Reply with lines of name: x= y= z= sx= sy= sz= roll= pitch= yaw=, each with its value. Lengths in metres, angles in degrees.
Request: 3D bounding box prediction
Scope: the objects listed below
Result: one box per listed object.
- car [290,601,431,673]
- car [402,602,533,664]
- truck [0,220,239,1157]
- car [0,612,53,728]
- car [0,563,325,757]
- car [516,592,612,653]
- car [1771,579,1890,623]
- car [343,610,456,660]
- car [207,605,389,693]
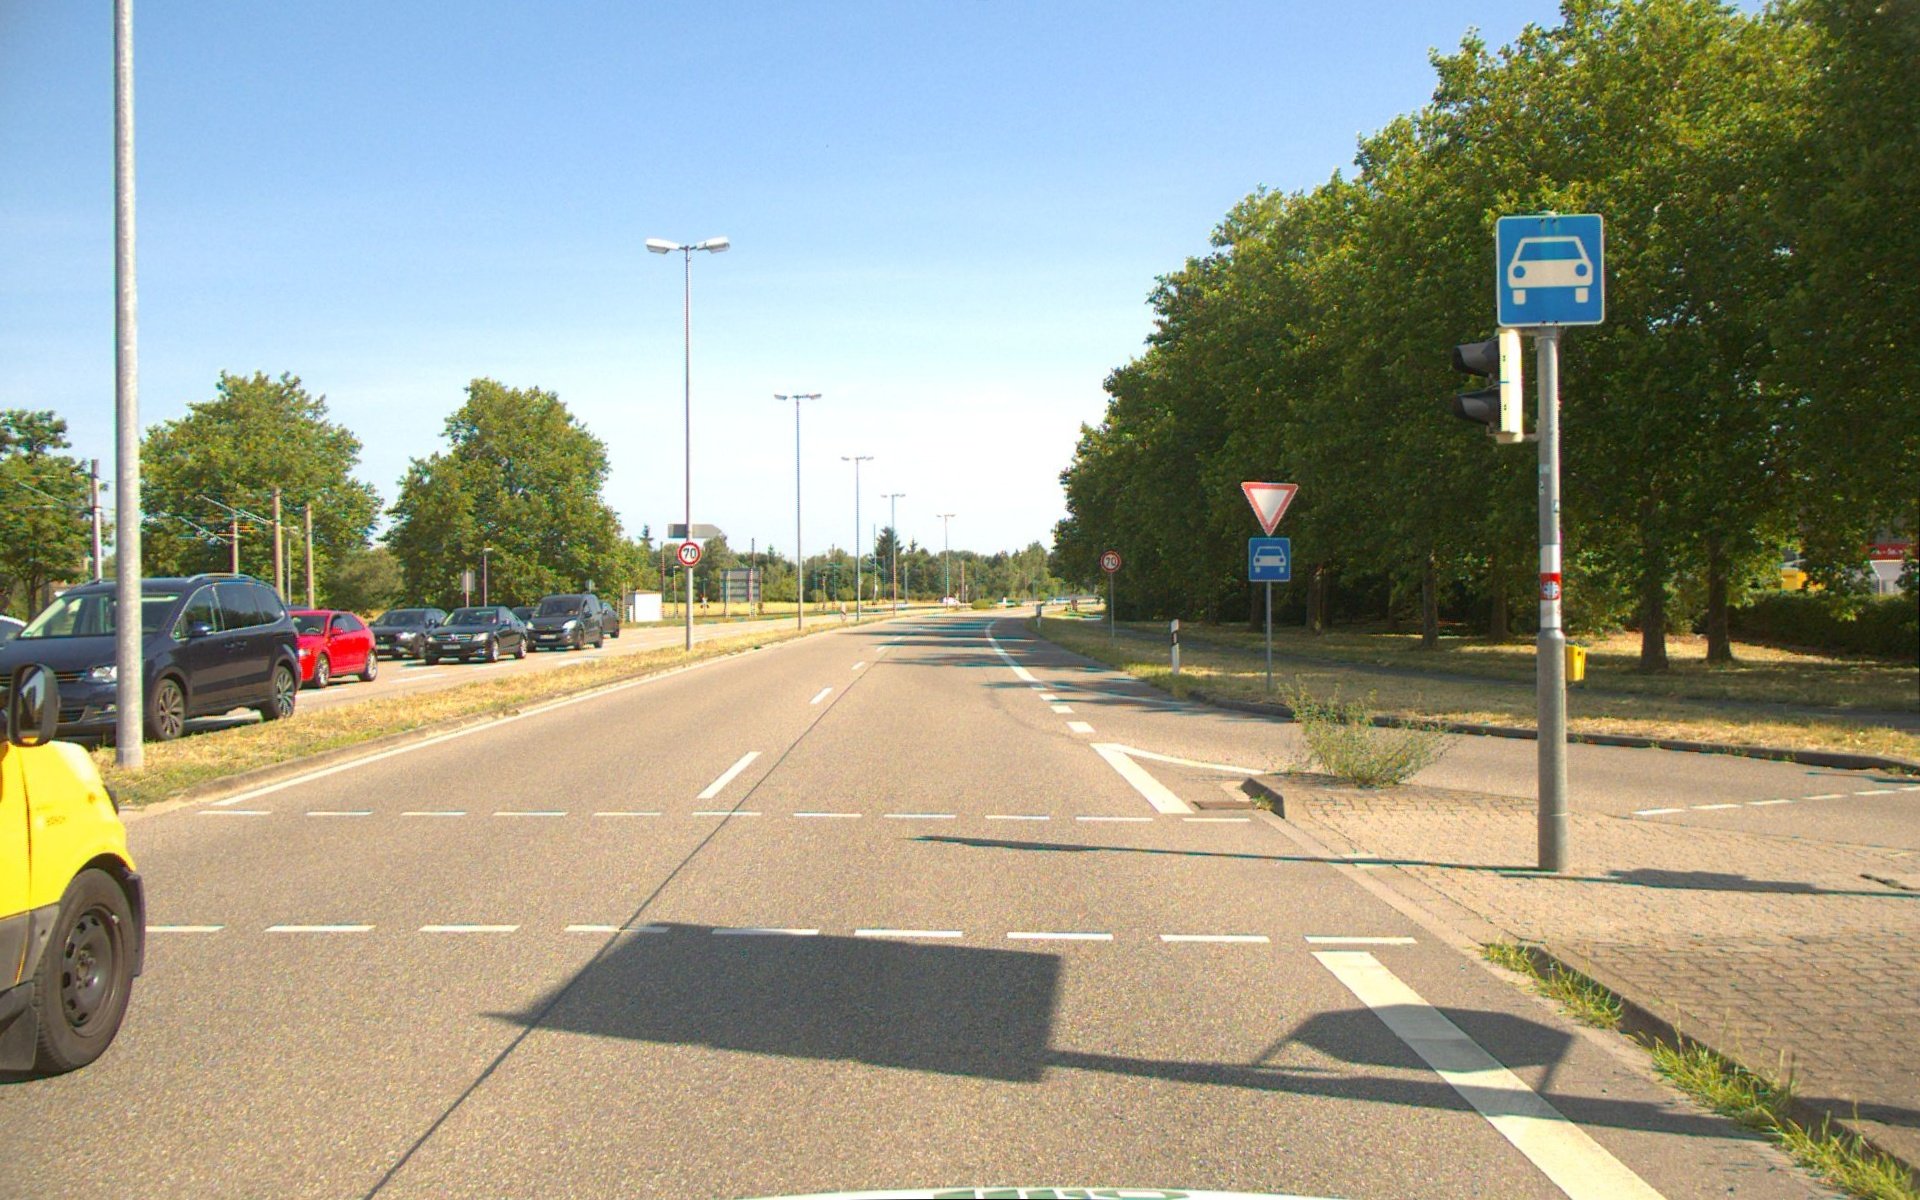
car: x=-15.424 y=0.911 z=42.810 sx=2.030 sy=1.651 sz=4.488 roll=-3 pitch=0 yaw=-2
car: x=-12.588 y=0.812 z=42.573 sx=1.940 sy=1.483 sz=4.451 roll=-1 pitch=0 yaw=1
truck: x=-3.541 y=0.230 z=3.000 sx=2.069 sy=2.500 sz=5.914 roll=0 pitch=0 yaw=-2
car: x=-12.599 y=0.868 z=19.322 sx=1.791 sy=1.410 sz=3.844 roll=-1 pitch=0 yaw=1
car: x=-8.781 y=0.582 z=17.857 sx=1.940 sy=1.781 sz=4.508 roll=-2 pitch=0 yaw=1
car: x=-12.622 y=0.692 z=52.948 sx=1.940 sy=1.810 sz=4.489 roll=-1 pitch=0 yaw=0
car: x=35.722 y=0.051 z=67.969 sx=3.902 sy=1.713 sz=2.002 roll=1 pitch=-1 yaw=11
car: x=-16.293 y=0.992 z=48.273 sx=1.953 sy=1.355 sz=4.000 roll=-1 pitch=0 yaw=0
car: x=-12.256 y=0.865 z=30.904 sx=1.778 sy=1.511 sz=4.000 roll=-1 pitch=0 yaw=0
